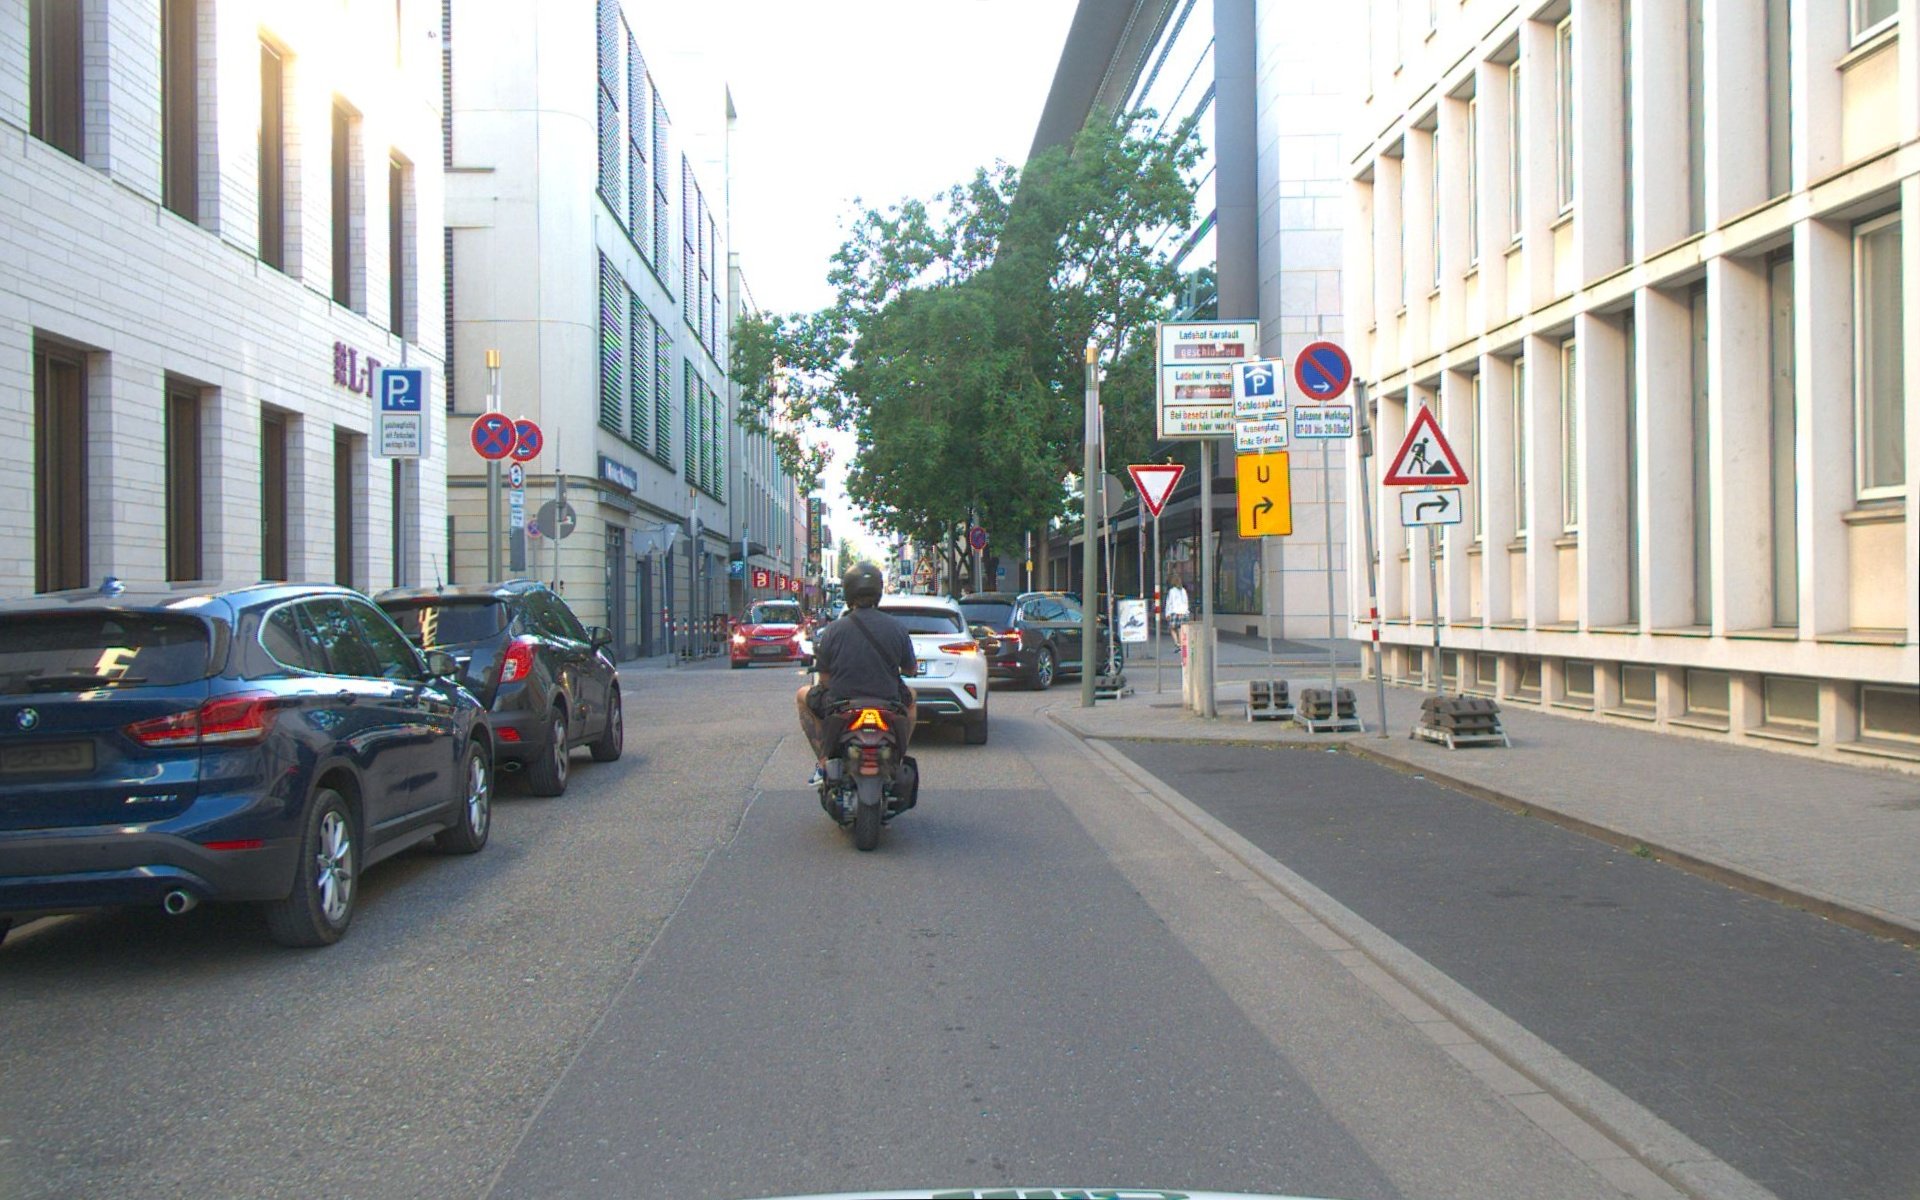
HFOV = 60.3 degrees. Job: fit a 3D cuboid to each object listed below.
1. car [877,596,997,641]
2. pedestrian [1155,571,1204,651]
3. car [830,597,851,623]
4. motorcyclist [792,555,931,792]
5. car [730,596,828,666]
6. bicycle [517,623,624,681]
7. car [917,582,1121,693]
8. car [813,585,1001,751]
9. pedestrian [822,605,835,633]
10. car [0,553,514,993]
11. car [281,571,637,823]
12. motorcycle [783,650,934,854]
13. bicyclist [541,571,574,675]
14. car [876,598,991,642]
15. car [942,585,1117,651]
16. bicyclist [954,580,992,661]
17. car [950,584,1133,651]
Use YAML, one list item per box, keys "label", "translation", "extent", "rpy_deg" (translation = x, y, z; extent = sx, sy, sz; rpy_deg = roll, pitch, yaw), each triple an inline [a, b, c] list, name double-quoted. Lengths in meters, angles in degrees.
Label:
- label: "car"
  translation: [-1.013, 0.790, 71.034]
  extent: [4.908, 1.525, 1.998]
  rpy_deg: [-4, -1, -5]
- label: "pedestrian"
  translation: [4.935, 0.248, 37.215]
  extent: [0.887, 1.735, 0.834]
  rpy_deg: [-3, -1, -2]
- label: "car"
  translation: [-11.489, 0.966, 158.689]
  extent: [1.955, 2.370, 5.015]
  rpy_deg: [1, 0, -5]
- label: "motorcyclist"
  translation: [-0.610, 0.451, 10.385]
  extent: [0.849, 1.452, 0.455]
  rpy_deg: [0, -1, -2]
- label: "car"
  translation: [-4.071, 0.728, 37.717]
  extent: [1.785, 1.491, 4.262]
  rpy_deg: [-1, -2, -1]
- label: "bicycle"
  translation: [-6.709, 0.885, 28.493]
  extent: [1.784, 0.991, 0.509]
  rpy_deg: [0, -1, -16]
- label: "car"
  translation: [1.058, 0.530, 26.722]
  extent: [1.786, 1.568, 4.363]
  rpy_deg: [0, 1, 24]
- label: "car"
  translation: [-0.634, 0.631, 17.989]
  extent: [1.786, 1.568, 4.261]
  rpy_deg: [-1, 0, -4]
- label: "pedestrian"
  translation: [-7.643, 1.104, 96.108]
  extent: [0.717, 1.601, 0.635]
  rpy_deg: [0, -1, -2]
- label: "car"
  translation: [-3.590, 0.656, 8.359]
  extent: [1.705, 1.622, 4.151]
  rpy_deg: [-3, 1, -4]
- label: "car"
  translation: [-3.988, 0.671, 13.940]
  extent: [1.786, 1.707, 4.262]
  rpy_deg: [-3, 1, -2]
- label: "motorcycle"
  translation: [-0.604, 0.890, 10.327]
  extent: [0.855, 1.129, 1.839]
  rpy_deg: [0, -1, -2]
- label: "bicyclist"
  translation: [-6.928, 0.397, 28.446]
  extent: [0.541, 1.762, 0.499]
  rpy_deg: [0, -1, -15]
- label: "car"
  translation: [-1.195, 0.898, 73.525]
  extent: [4.908, 1.525, 1.998]
  rpy_deg: [-4, -1, -5]
- label: "car"
  translation: [2.031, 0.533, 49.348]
  extent: [4.908, 1.525, 1.998]
  rpy_deg: [-4, -1, -5]
- label: "bicyclist"
  translation: [0.270, 0.422, 34.156]
  extent: [0.623, 1.654, 0.492]
  rpy_deg: [1, -1, -32]
- label: "car"
  translation: [2.268, 0.508, 46.950]
  extent: [4.908, 1.477, 1.998]
  rpy_deg: [-4, -1, -5]
